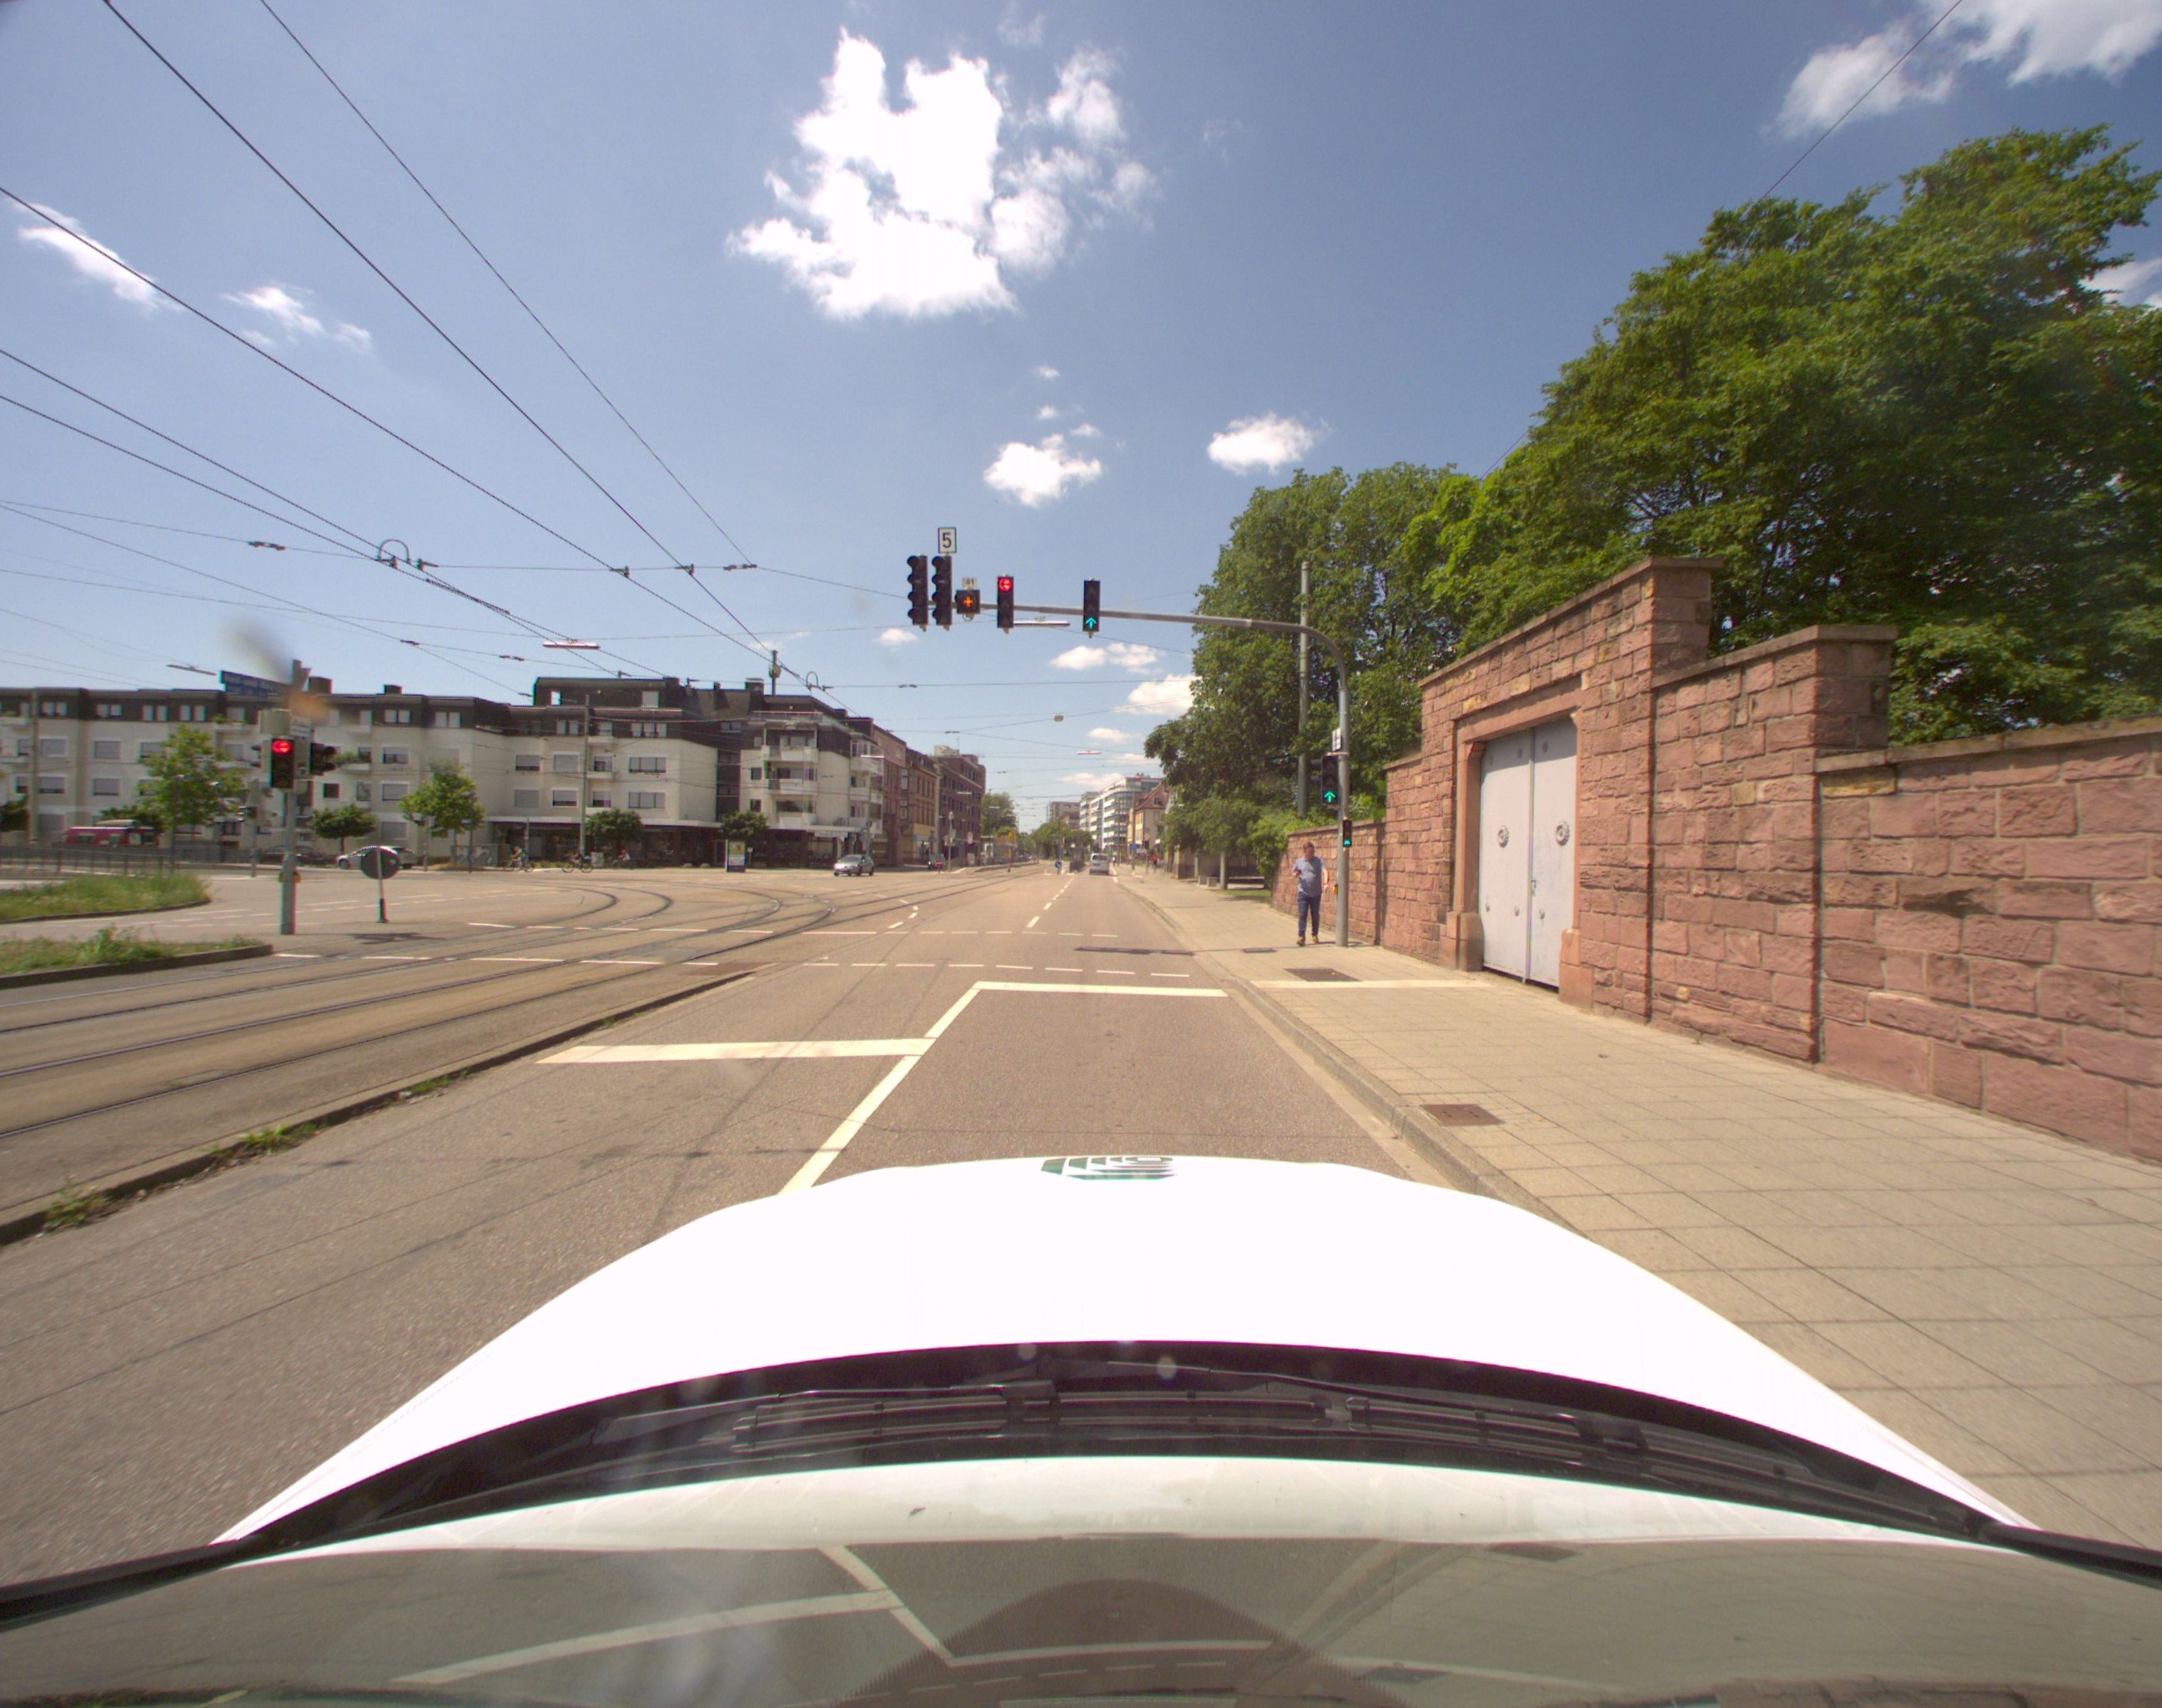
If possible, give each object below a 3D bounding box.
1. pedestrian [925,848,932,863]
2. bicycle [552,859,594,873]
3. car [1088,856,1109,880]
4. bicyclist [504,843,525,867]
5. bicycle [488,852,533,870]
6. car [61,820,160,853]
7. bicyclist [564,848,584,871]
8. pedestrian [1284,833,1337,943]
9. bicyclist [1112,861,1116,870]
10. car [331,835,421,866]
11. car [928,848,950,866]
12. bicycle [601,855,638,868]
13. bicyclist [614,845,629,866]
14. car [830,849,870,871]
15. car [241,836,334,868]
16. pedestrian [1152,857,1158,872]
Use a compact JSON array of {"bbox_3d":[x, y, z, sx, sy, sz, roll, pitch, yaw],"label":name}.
[{"bbox_3d":[-19.859,0.194,106.107,0.616,2.014,0.810,2,-1,-1],"label":"pedestrian"},{"bbox_3d":[-32.707,0.771,52.447,2.255,0.881,0.416,0,-1,-17],"label":"bicycle"},{"bbox_3d":[1.564,1.203,71.432,1.745,2.013,4.002,0,0,2],"label":"car"},{"bbox_3d":[-35.861,0.064,51.552,0.853,1.487,0.732,0,-1,-17],"label":"bicyclist"},{"bbox_3d":[-36.037,0.462,51.491,2.254,1.101,0.514,0,-1,-16],"label":"bicycle"},{"bbox_3d":[-62.393,-1.102,52.404,3.971,2.014,2.001,1,0,2],"label":"car"},{"bbox_3d":[-32.659,0.349,52.479,0.963,1.423,0.627,0,-1,-17],"label":"bicyclist"},{"bbox_3d":[3.986,0.583,14.212,0.711,1.852,0.769,-2,-1,7],"label":"pedestrian"},{"bbox_3d":[5.445,1.853,133.146,0.589,1.397,0.841,2,0,-1],"label":"bicyclist"},{"bbox_3d":[-45.244,-0.225,52.331,3.975,1.912,1.999,1,0,-1],"label":"car"},{"bbox_3d":[-14.583,0.275,83.820,1.720,1.683,4.275,1,0,-3],"label":"car"},{"bbox_3d":[-32.252,0.517,56.967,2.263,0.935,0.665,0,-1,-28],"label":"bicycle"},{"bbox_3d":[-32.199,0.106,57.053,0.851,1.468,0.650,0,-2,-28],"label":"bicyclist"},{"bbox_3d":[-15.812,0.397,56.001,1.992,1.471,4.389,1,0,-8],"label":"car"},{"bbox_3d":[-51.417,-0.128,52.841,3.975,2.014,1.999,0,-1,-1],"label":"car"},{"bbox_3d":[7.485,1.076,82.559,0.574,1.556,0.786,-1,-1,4],"label":"pedestrian"}]
